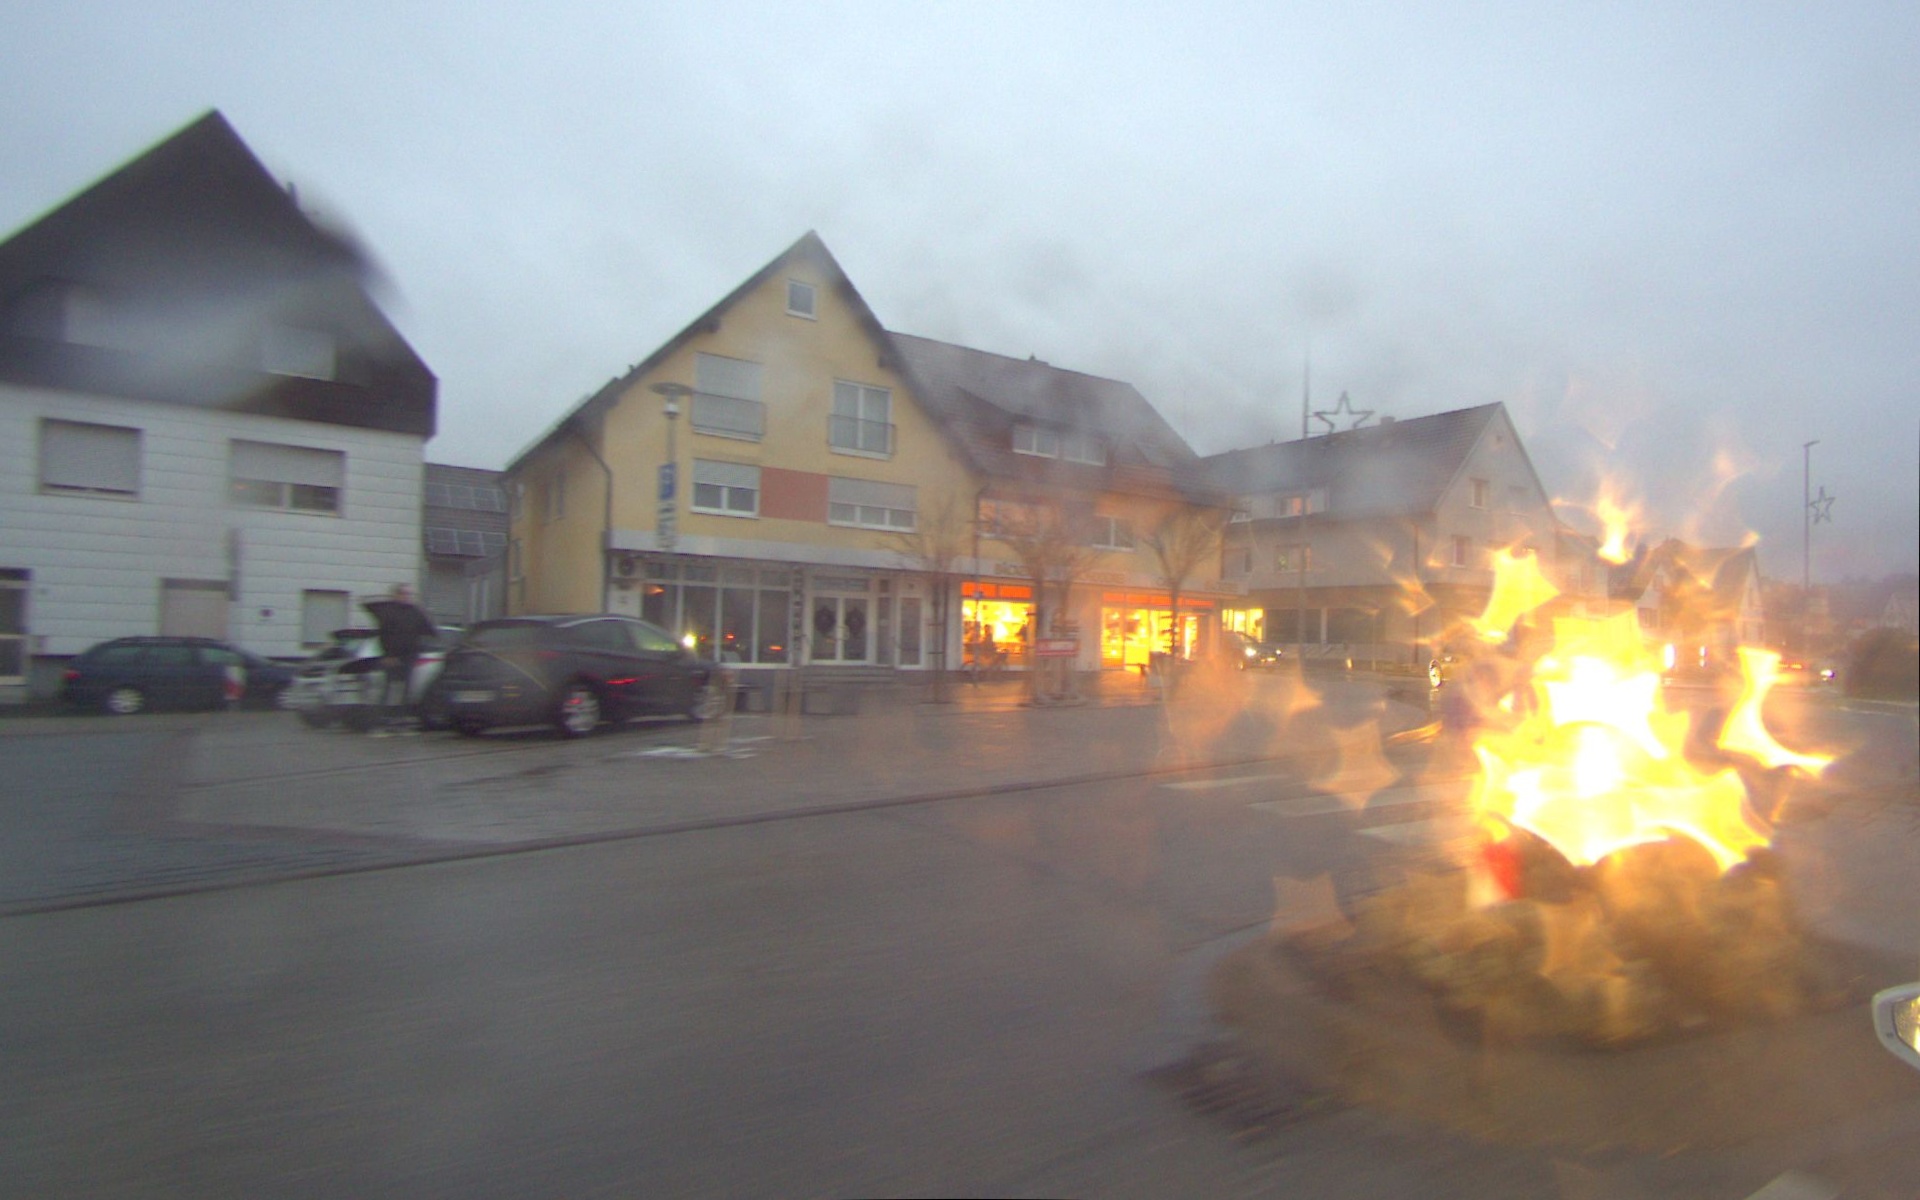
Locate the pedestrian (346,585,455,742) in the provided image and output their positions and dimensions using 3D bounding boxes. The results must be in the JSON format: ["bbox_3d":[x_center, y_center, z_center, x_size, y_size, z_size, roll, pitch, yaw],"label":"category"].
[{"bbox_3d":[-6.496,0.733,11.683,0.711,1.734,0.840,-2,-3,27],"label":"pedestrian"}]

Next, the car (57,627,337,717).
[{"bbox_3d":[-15.314,1.396,20.519,4.376,1.520,1.900,1,2,-33],"label":"car"}]

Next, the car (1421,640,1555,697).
[{"bbox_3d":[14.913,1.928,28.601,1.682,1.440,3.840,3,-3,-2],"label":"car"}]

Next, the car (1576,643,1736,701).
[{"bbox_3d":[22.839,2.323,33.096,1.687,1.684,4.028,2,-2,-36],"label":"car"}]

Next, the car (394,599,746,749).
[{"bbox_3d":[-4.676,0.866,12.807,1.876,1.551,4.181,1,-2,20],"label":"car"}]

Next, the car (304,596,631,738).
[{"bbox_3d":[-6.681,0.912,14.101,1.805,1.692,3.896,-2,-3,23],"label":"car"}]

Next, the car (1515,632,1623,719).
[{"bbox_3d":[11.294,1.329,18.541,1.484,1.430,3.355,0,-2,35],"label":"car"}]

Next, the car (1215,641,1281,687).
[{"bbox_3d":[12.038,2.658,42.294,1.914,1.614,4.635,1,0,6],"label":"car"}]

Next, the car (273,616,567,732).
[{"bbox_3d":[-8.703,1.172,16.574,1.733,1.652,3.995,-3,-3,27],"label":"car"}]
